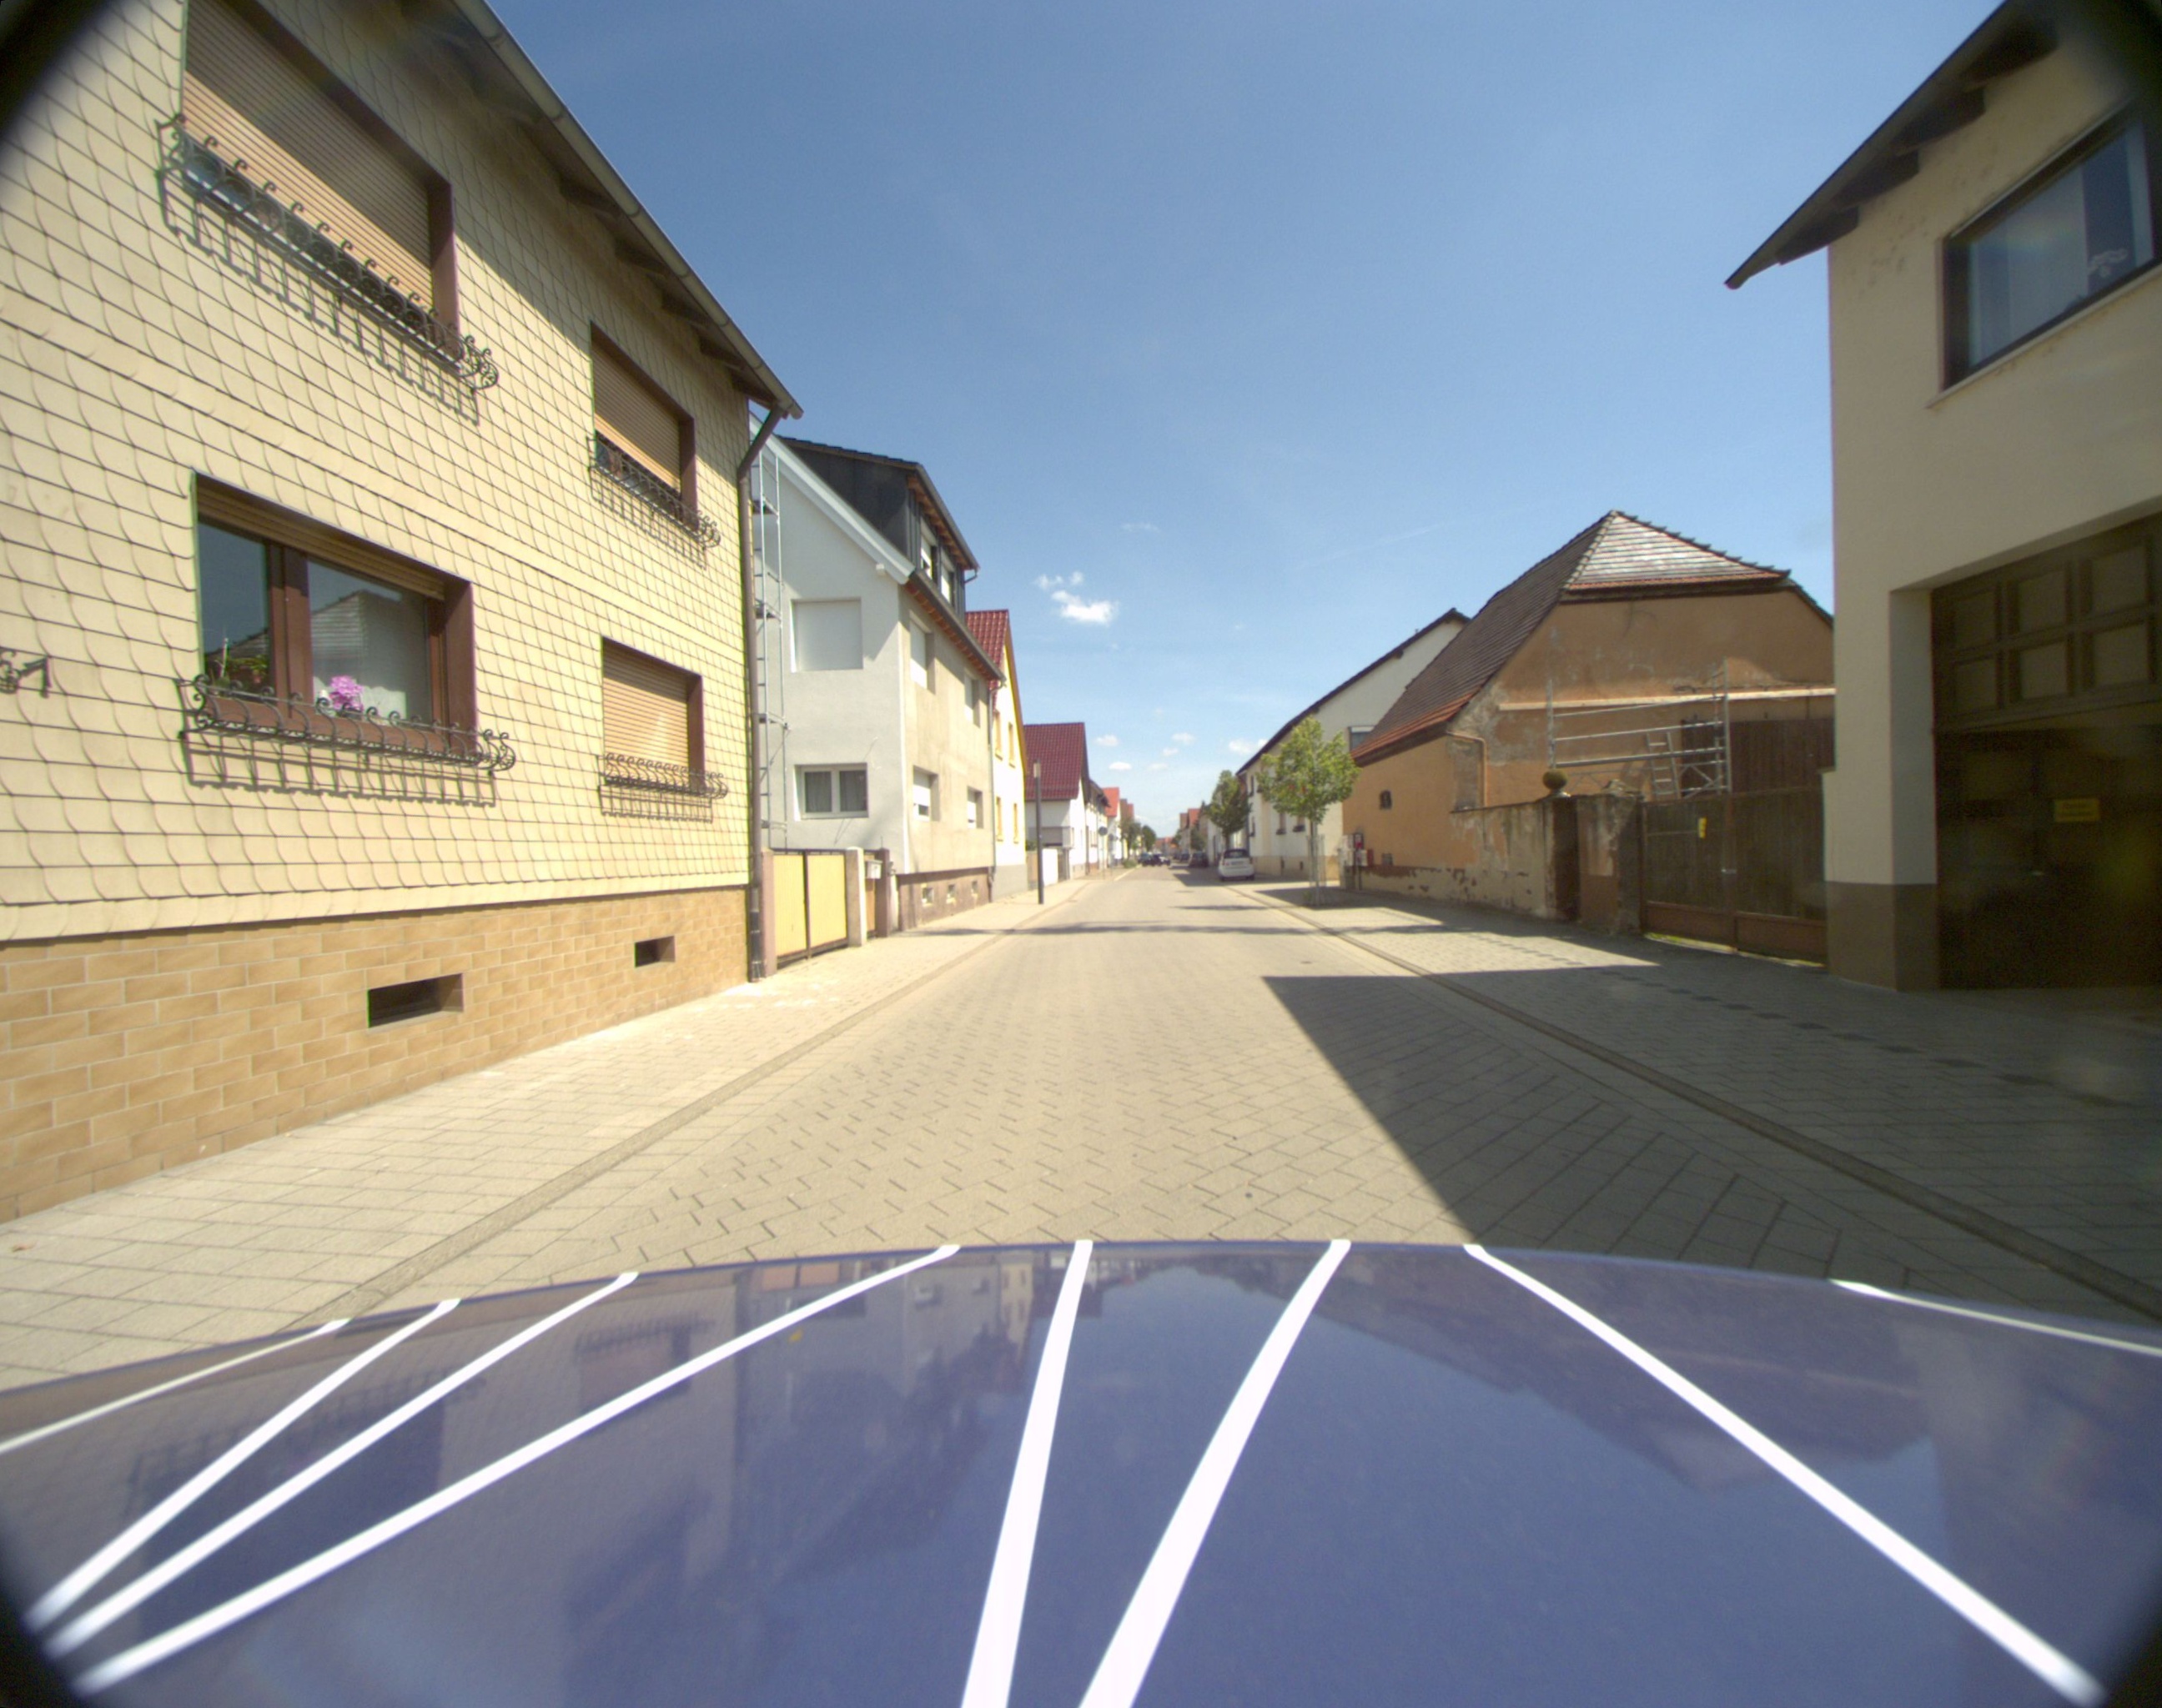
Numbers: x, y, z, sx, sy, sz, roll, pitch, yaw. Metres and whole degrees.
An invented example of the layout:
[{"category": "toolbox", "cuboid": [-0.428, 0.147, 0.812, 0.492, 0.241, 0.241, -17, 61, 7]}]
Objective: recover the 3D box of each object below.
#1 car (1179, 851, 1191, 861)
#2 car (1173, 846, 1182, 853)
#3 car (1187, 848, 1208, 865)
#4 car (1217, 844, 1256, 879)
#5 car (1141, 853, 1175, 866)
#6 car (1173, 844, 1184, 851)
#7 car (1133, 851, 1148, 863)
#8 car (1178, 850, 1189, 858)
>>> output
[{"category": "car", "cuboid": [17.895, 0.361, 130.772, 1.851, 1.689, 4.002, -2, 0, 7]}, {"category": "car", "cuboid": [22.280, -0.994, 175.614, 1.998, 1.570, 4.001, -2, 0, 6]}, {"category": "car", "cuboid": [11.494, 0.264, 74.995, 1.751, 1.557, 3.956, -2, 0, 4]}, {"category": "car", "cuboid": [7.525, 0.334, 37.036, 1.575, 1.552, 2.823, -4, 0, 8]}, {"category": "car", "cuboid": [8.944, 0.656, 88.464, 1.730, 1.420, 3.808, -2, 1, -36]}, {"category": "car", "cuboid": [21.746, -1.500, 169.480, 1.998, 1.570, 4.001, -2, 0, 4]}, {"category": "car", "cuboid": [8.945, 0.398, 114.189, 1.997, 1.696, 4.002, -2, 0, 8]}, {"category": "car", "cuboid": [20.510, -0.034, 151.950, 1.854, 1.543, 4.001, -2, 0, 4]}]
